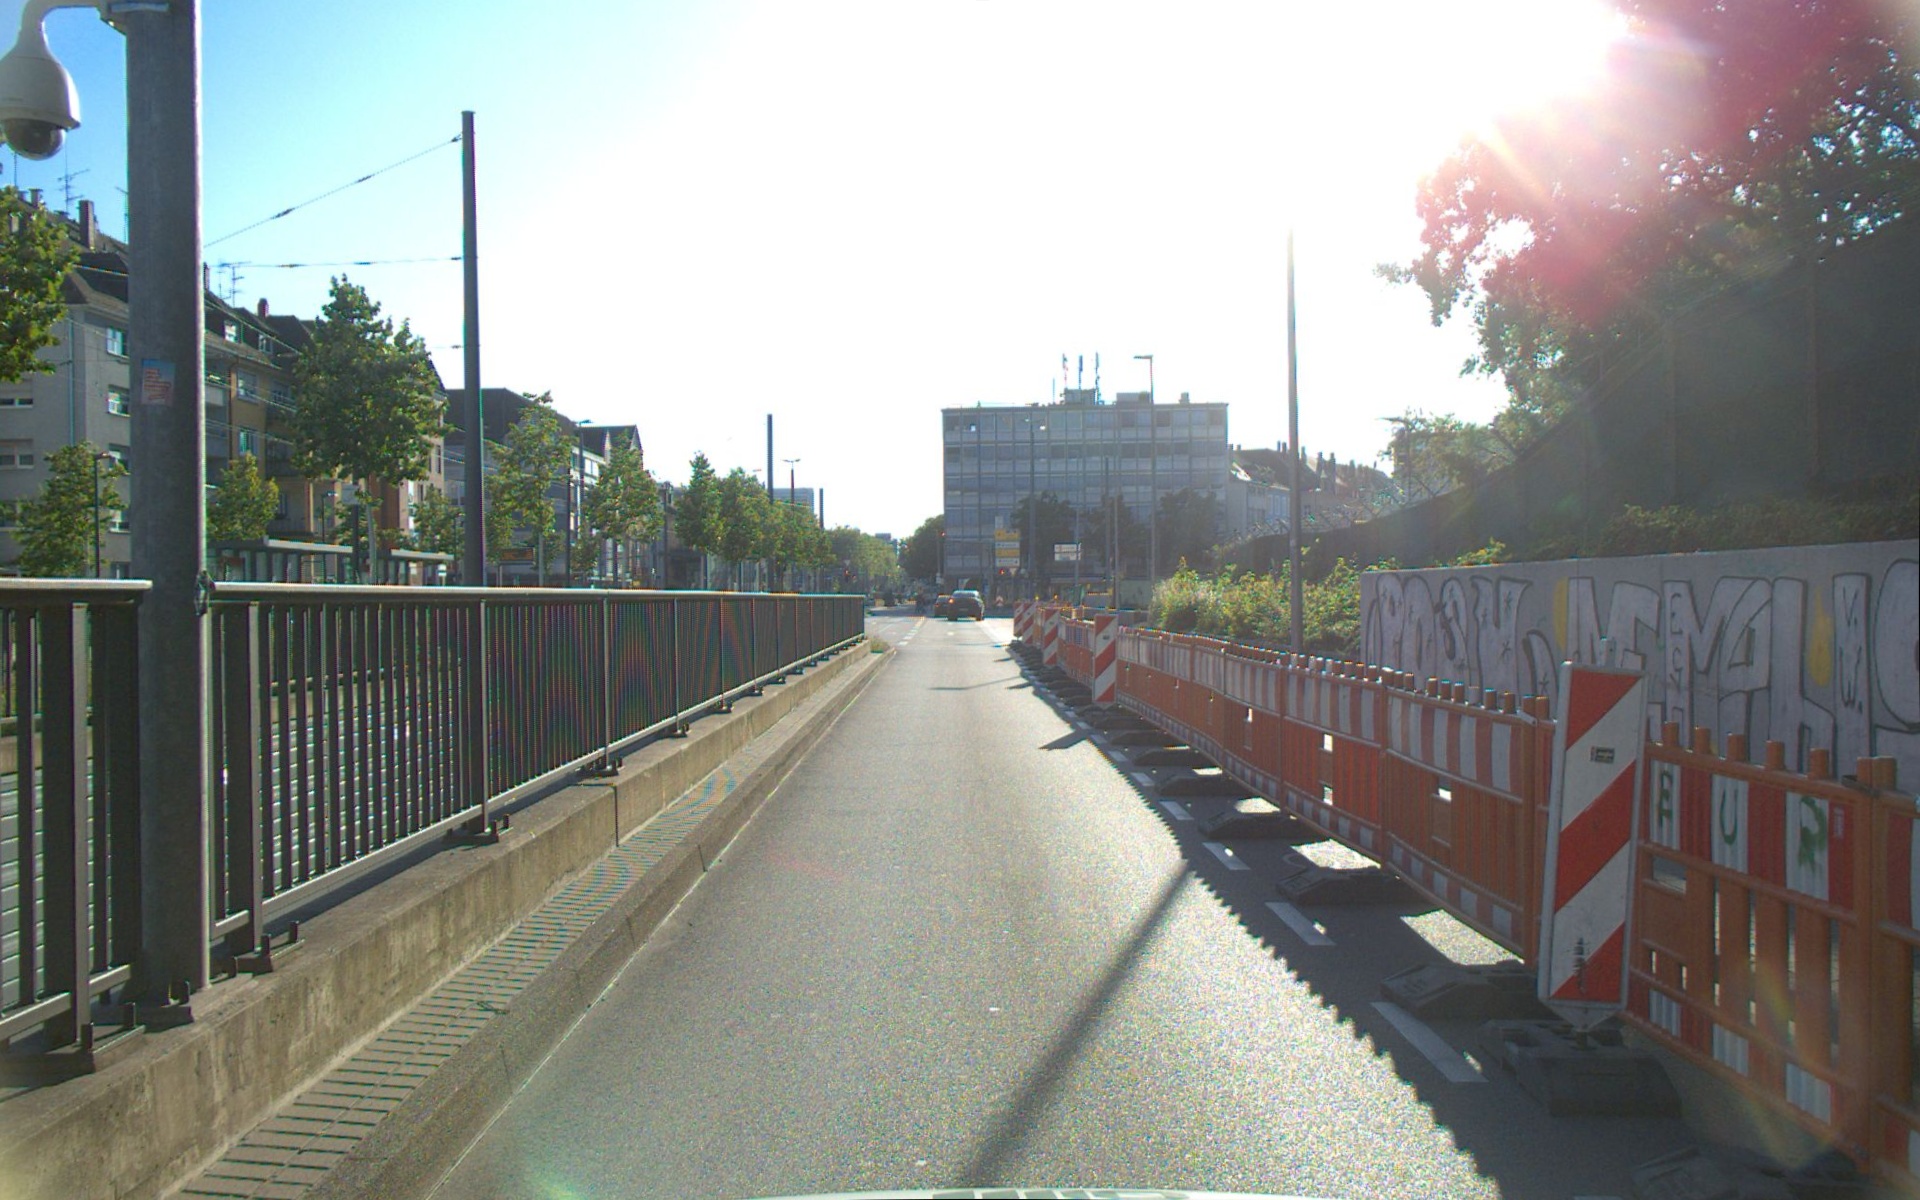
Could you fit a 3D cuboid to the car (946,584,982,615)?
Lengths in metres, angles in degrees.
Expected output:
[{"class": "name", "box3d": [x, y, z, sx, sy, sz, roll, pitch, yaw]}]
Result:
[{"class": "car", "box3d": [0.265, -0.035, 98.052, 1.952, 1.723, 4.002, 1, 1, 3]}]

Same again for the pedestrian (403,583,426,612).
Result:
[{"class": "pedestrian", "box3d": [-20.790, -0.102, 63.069, 0.614, 1.065, 0.794, -1, 0, -1]}]

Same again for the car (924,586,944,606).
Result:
[{"class": "car", "box3d": [-3.373, -0.504, 215.618, 2.436, 2.434, 5.932, -2, 0, -1]}]

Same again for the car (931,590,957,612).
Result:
[{"class": "car", "box3d": [-1.094, 0.088, 111.612, 1.708, 1.451, 3.999, 0, 0, -1]}]

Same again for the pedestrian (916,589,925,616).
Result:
[{"class": "pedestrian", "box3d": [-2.982, 0.194, 125.365, 0.600, 2.049, 0.511, 0, 0, 3]}]

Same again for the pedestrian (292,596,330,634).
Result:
[{"class": "pedestrian", "box3d": [-20.907, 0.483, 53.295, 0.915, 1.218, 0.764, -1, 0, -1]}]

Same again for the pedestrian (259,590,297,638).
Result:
[{"class": "pedestrian", "box3d": [-20.904, 0.418, 50.723, 0.821, 1.435, 0.803, -1, 0, -1]}]

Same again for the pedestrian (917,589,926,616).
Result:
[{"class": "pedestrian", "box3d": [-2.949, 0.192, 125.924, 0.600, 2.049, 0.511, 0, 0, 3]}]
